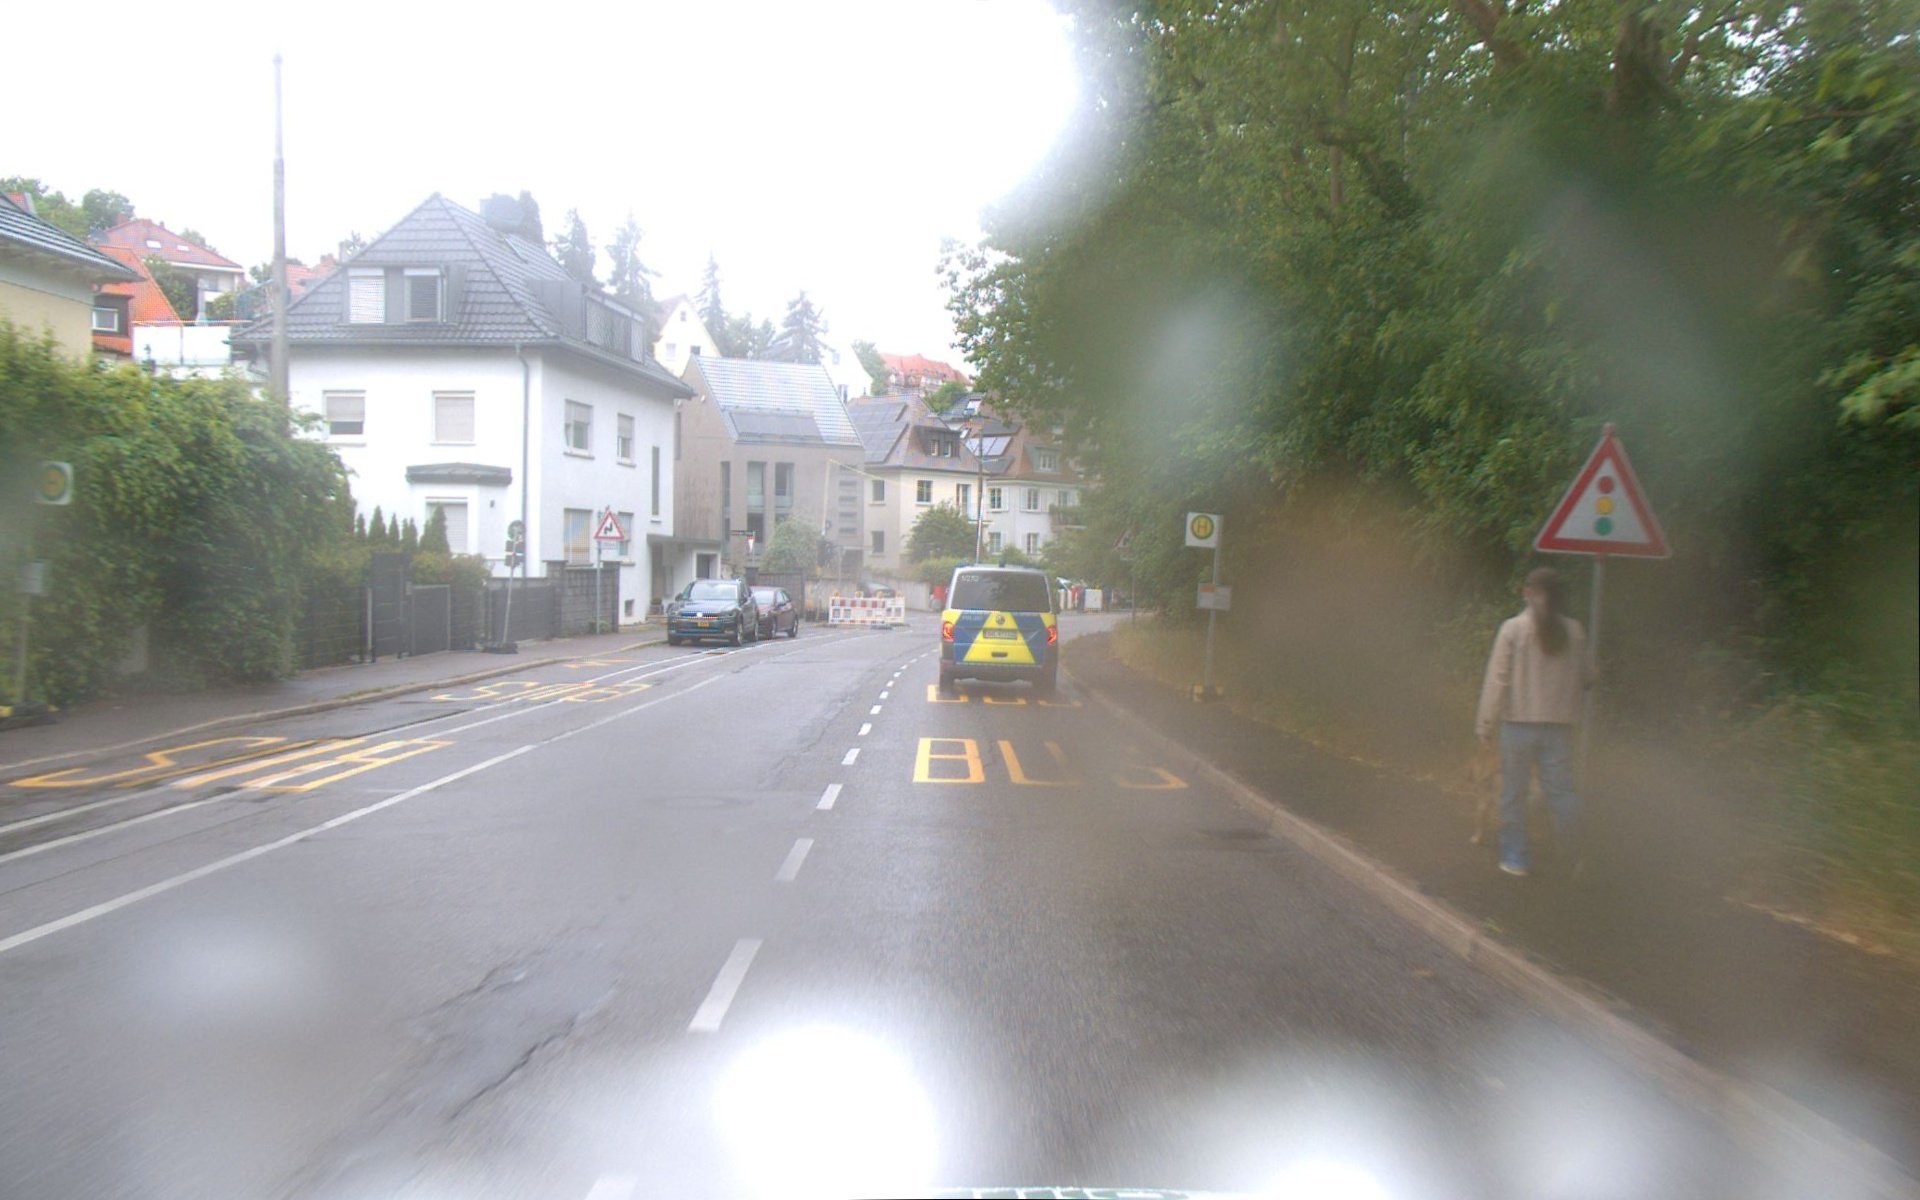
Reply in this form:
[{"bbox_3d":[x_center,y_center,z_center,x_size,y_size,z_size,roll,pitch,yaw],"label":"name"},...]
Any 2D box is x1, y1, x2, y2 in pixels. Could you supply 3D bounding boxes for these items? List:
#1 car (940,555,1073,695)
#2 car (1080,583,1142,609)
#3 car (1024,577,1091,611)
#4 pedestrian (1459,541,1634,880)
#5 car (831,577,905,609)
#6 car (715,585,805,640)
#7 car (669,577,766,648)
[{"bbox_3d":[0.758,0.361,26.759,1.952,2.049,4.403,0,0,2],"label":"car"},{"bbox_3d":[10.583,-0.274,115.821,3.913,1.512,1.756,3,-1,30],"label":"car"},{"bbox_3d":[6.316,-0.419,107.139,3.914,2.048,1.826,2,1,31],"label":"car"},{"bbox_3d":[2.960,0.543,8.394,0.629,1.639,0.669,1,-1,-2],"label":"pedestrian"},{"bbox_3d":[-4.703,-0.348,83.878,1.820,1.469,3.946,1,1,-38],"label":"car"},{"bbox_3d":[-5.744,0.334,47.968,1.582,1.465,4.234,1,1,7],"label":"car"},{"bbox_3d":[-6.170,0.273,42.459,1.718,1.687,4.406,0,1,1],"label":"car"}]
